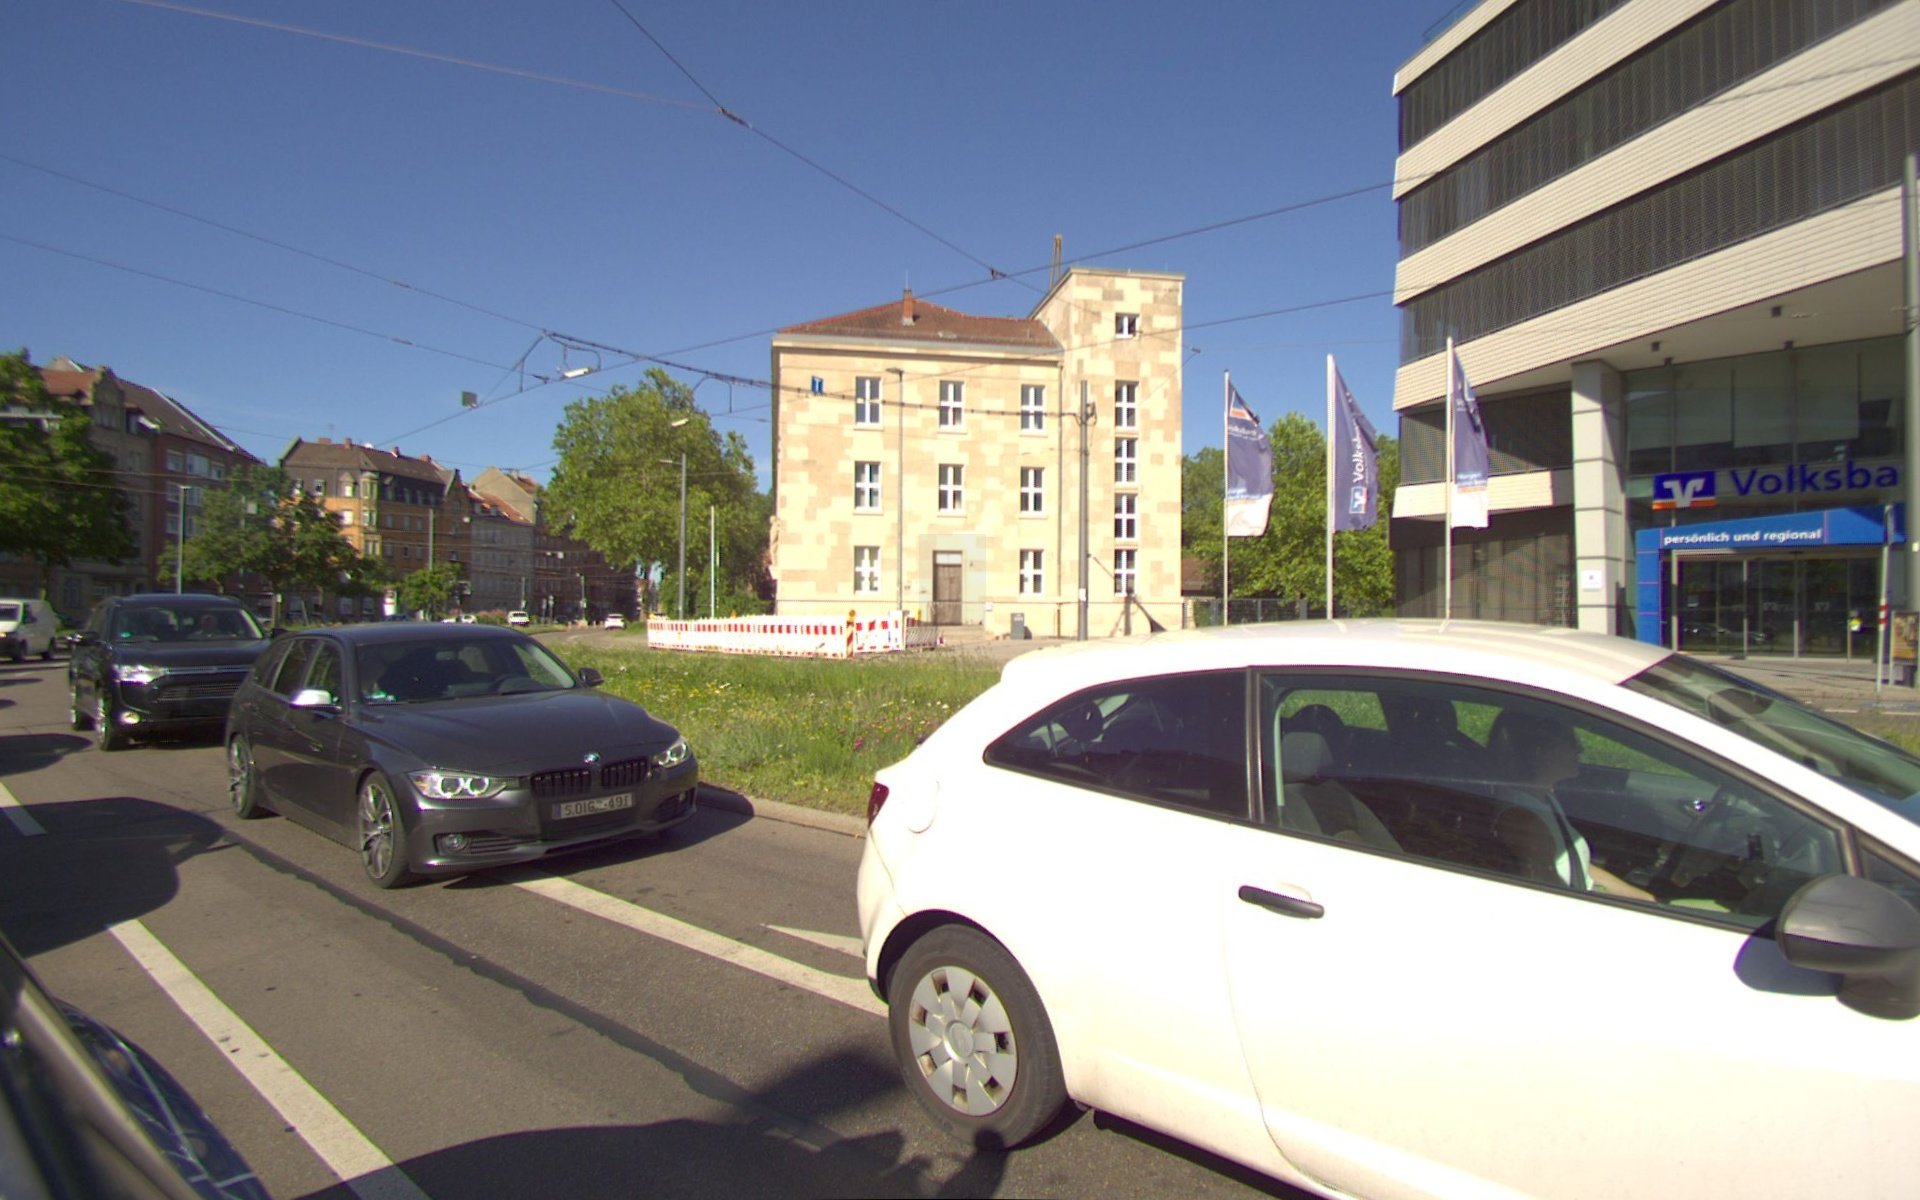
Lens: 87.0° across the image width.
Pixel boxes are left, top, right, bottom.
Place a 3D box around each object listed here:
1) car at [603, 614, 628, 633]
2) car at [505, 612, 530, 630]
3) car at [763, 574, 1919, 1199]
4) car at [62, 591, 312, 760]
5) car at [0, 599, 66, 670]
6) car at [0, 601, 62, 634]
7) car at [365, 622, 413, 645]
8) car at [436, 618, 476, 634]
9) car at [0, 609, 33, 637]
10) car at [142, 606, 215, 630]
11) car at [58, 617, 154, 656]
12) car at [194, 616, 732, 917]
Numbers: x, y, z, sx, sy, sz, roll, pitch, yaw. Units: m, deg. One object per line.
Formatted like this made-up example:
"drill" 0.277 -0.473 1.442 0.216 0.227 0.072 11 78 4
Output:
"car" -30.906 2.070 90.894 1.795 1.658 4.193 0 -1 -13
"car" -48.091 2.262 109.971 1.966 1.889 4.604 -1 0 -31
"car" 1.487 0.693 2.477 4.020 1.452 1.714 0 2 40
"car" -9.375 0.771 12.128 1.817 1.658 4.400 -1 -1 -45
"car" -29.922 1.029 31.548 1.949 2.101 4.728 2 -1 -27
"car" -49.924 0.890 52.790 4.514 1.680 1.601 2 -2 -43
"car" -42.928 2.503 76.189 1.811 1.659 4.157 1 -1 -10
"car" -58.602 3.006 117.678 3.931 1.663 1.868 -1 0 -18
"car" -48.759 1.150 50.383 3.768 1.390 1.602 2 -2 -41
"car" -53.925 1.272 69.871 3.771 1.603 1.601 2 -2 -44
"car" -34.843 1.451 41.433 1.809 1.483 4.729 1 -1 -25
"car" -3.593 0.826 6.877 4.424 1.377 1.719 -1 0 41
